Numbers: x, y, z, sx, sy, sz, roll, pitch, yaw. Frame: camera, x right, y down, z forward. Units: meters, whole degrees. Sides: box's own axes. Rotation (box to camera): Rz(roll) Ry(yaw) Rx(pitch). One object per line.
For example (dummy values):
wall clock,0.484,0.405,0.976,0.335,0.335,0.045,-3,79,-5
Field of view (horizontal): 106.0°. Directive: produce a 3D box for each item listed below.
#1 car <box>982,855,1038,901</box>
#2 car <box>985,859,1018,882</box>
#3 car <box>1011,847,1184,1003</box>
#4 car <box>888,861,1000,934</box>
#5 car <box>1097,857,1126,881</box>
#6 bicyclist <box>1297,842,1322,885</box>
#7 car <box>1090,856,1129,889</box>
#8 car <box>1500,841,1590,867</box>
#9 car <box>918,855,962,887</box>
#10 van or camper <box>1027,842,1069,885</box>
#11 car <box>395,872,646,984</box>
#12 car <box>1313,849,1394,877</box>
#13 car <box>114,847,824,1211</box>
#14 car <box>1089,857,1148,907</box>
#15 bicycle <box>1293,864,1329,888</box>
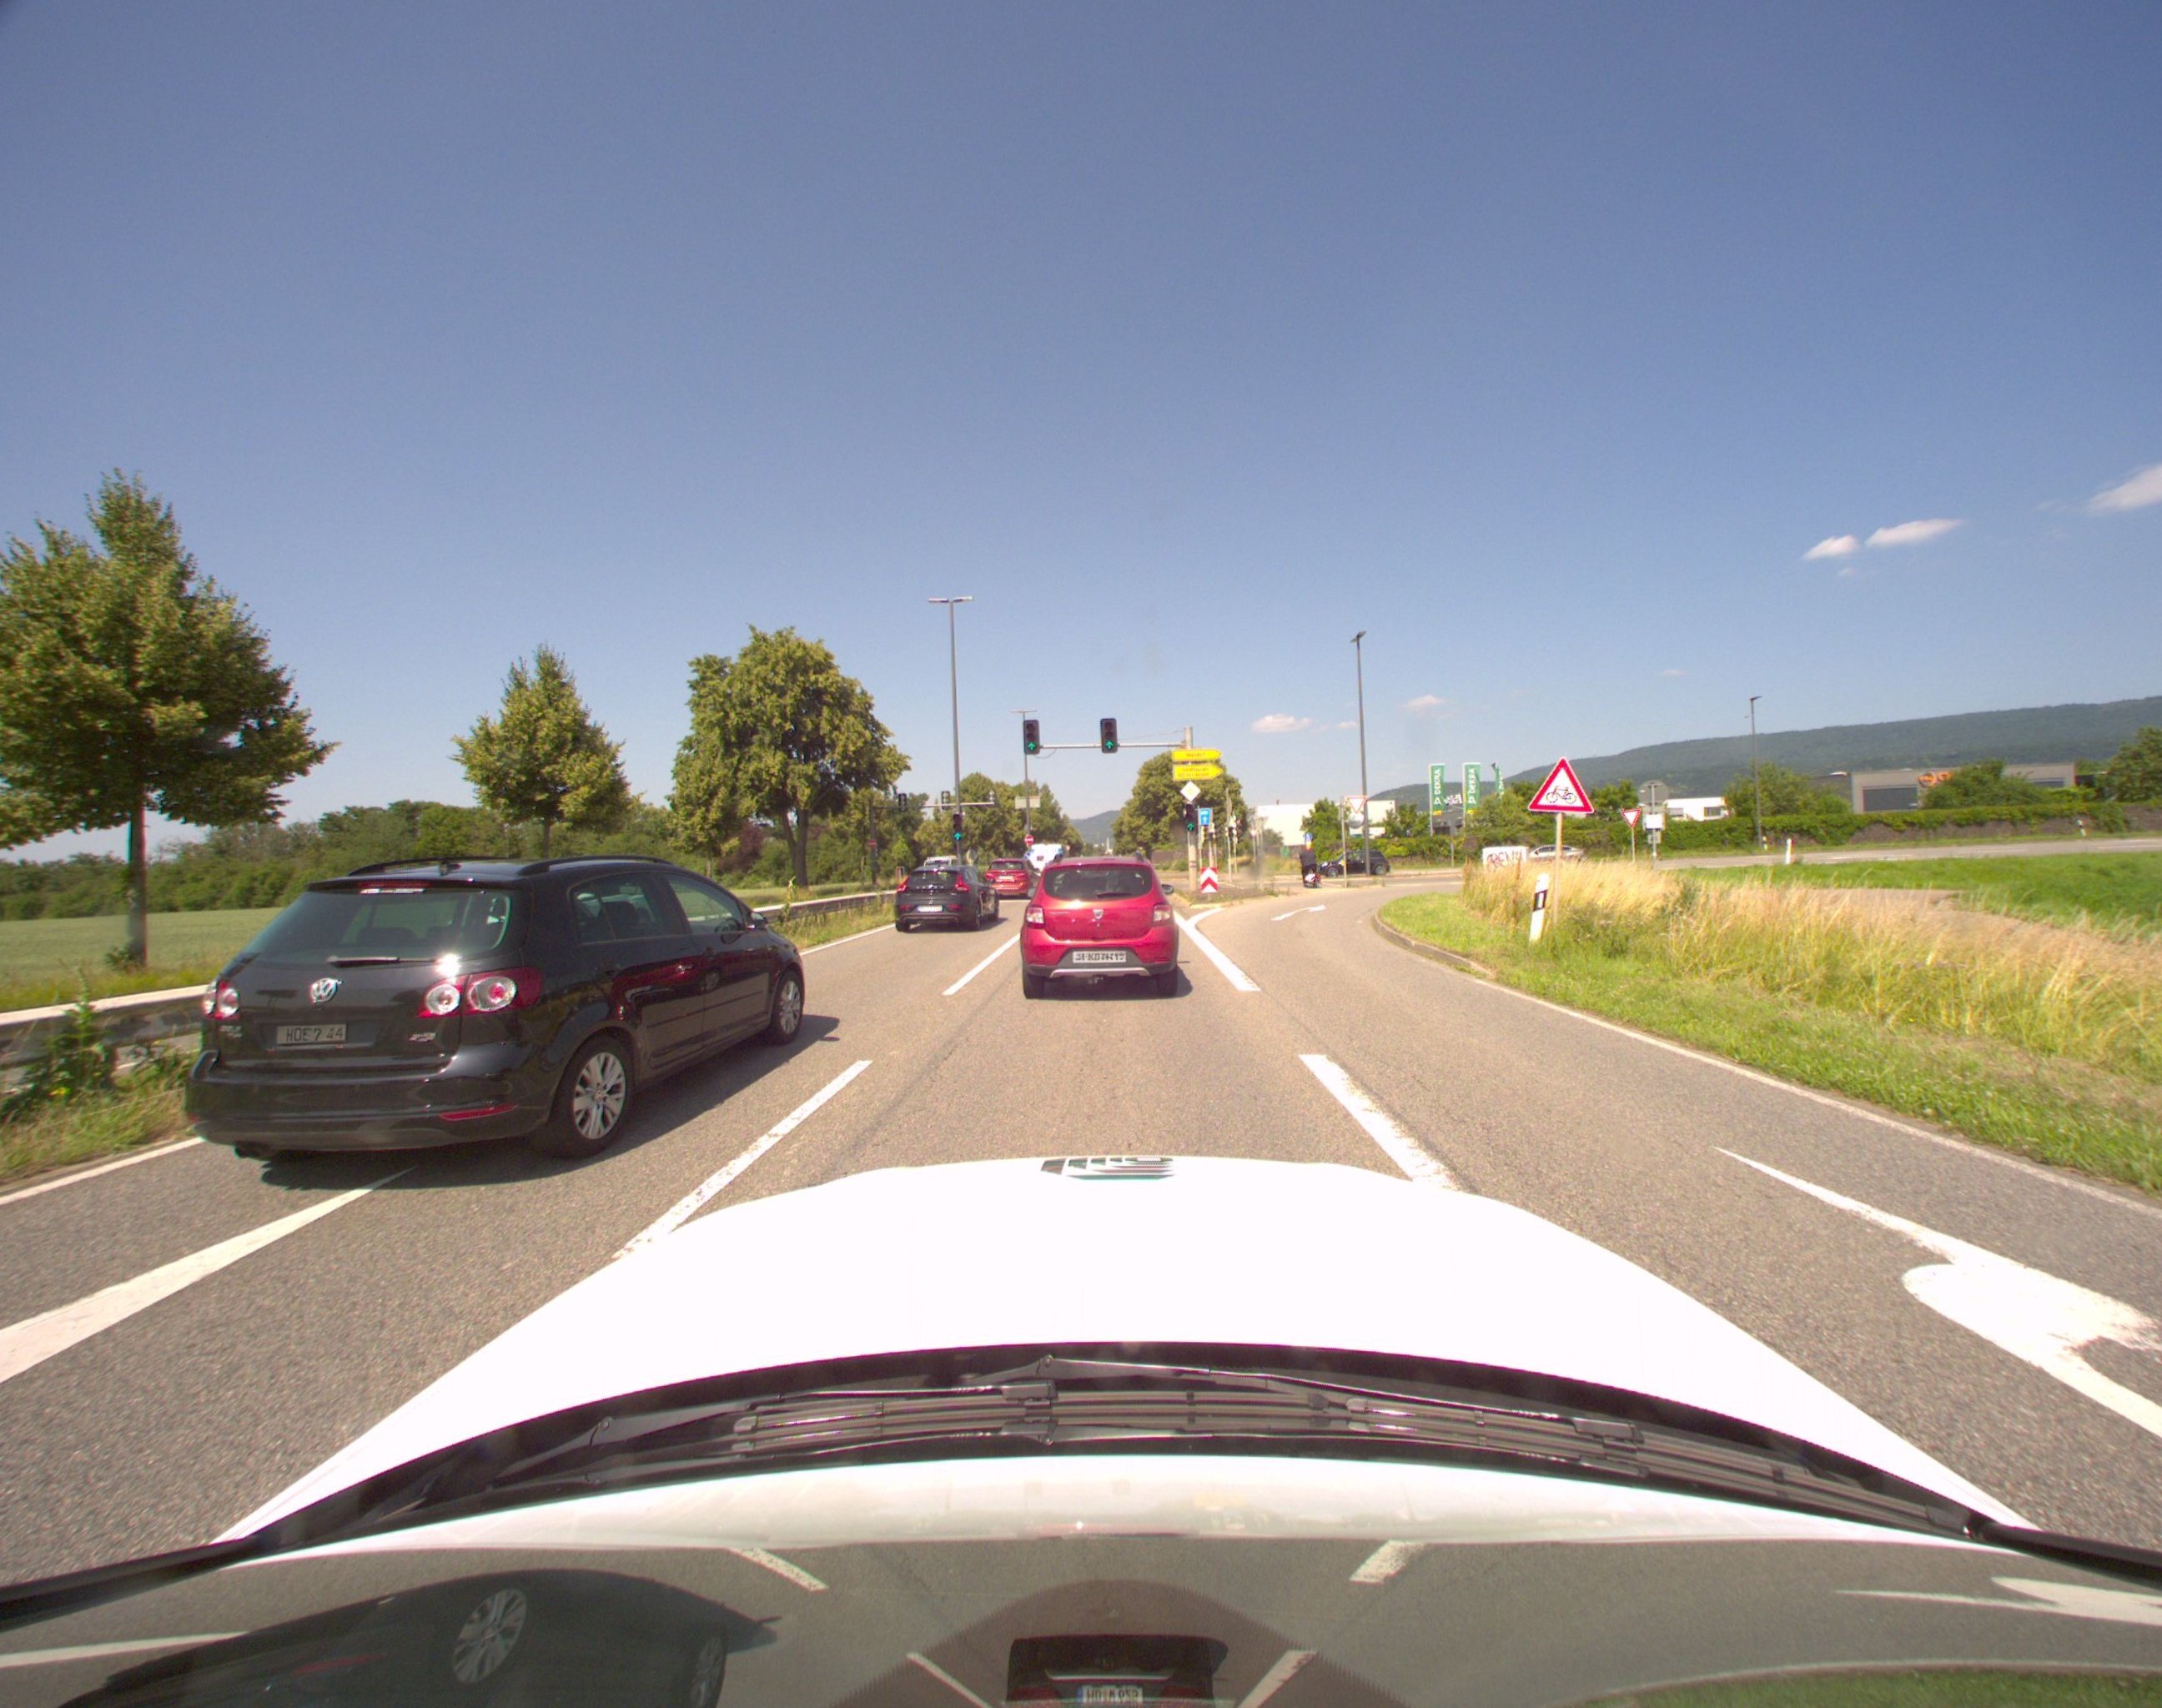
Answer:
car,-2.659,0.863,31.339,1.718,1.600,3.955,-2,0,1
car,-6.150,1.245,63.402,1.986,1.670,4.001,-2,0,1
car,0.287,0.740,10.230,1.742,1.576,3.680,-1,0,4
car,-3.002,0.916,18.645,1.695,1.442,3.958,-1,0,3
car,2.052,0.937,53.267,1.742,1.458,3.680,-1,0,4
bicyclist,9.694,0.389,34.567,0.799,1.771,0.809,-2,0,1
car,1.441,0.874,39.879,1.742,1.458,3.680,-1,0,4
car,27.734,-0.003,48.789,4.331,1.327,1.814,-2,0,15
car,-9.493,1.132,55.192,1.987,1.980,5.016,-2,0,1
van or camper,-1.850,0.551,46.896,2.172,2.303,4.825,-1,0,0
car,-10.030,1.224,15.038,1.740,1.618,4.134,-2,0,0
car,14.671,0.464,44.023,3.959,1.327,1.813,-2,0,13
car,-3.311,0.773,5.515,1.716,1.575,3.895,-1,0,3
car,1.259,0.847,26.339,1.742,1.458,3.680,-1,0,4
bicycle,9.716,0.906,34.529,0.759,0.915,2.780,-2,0,1
